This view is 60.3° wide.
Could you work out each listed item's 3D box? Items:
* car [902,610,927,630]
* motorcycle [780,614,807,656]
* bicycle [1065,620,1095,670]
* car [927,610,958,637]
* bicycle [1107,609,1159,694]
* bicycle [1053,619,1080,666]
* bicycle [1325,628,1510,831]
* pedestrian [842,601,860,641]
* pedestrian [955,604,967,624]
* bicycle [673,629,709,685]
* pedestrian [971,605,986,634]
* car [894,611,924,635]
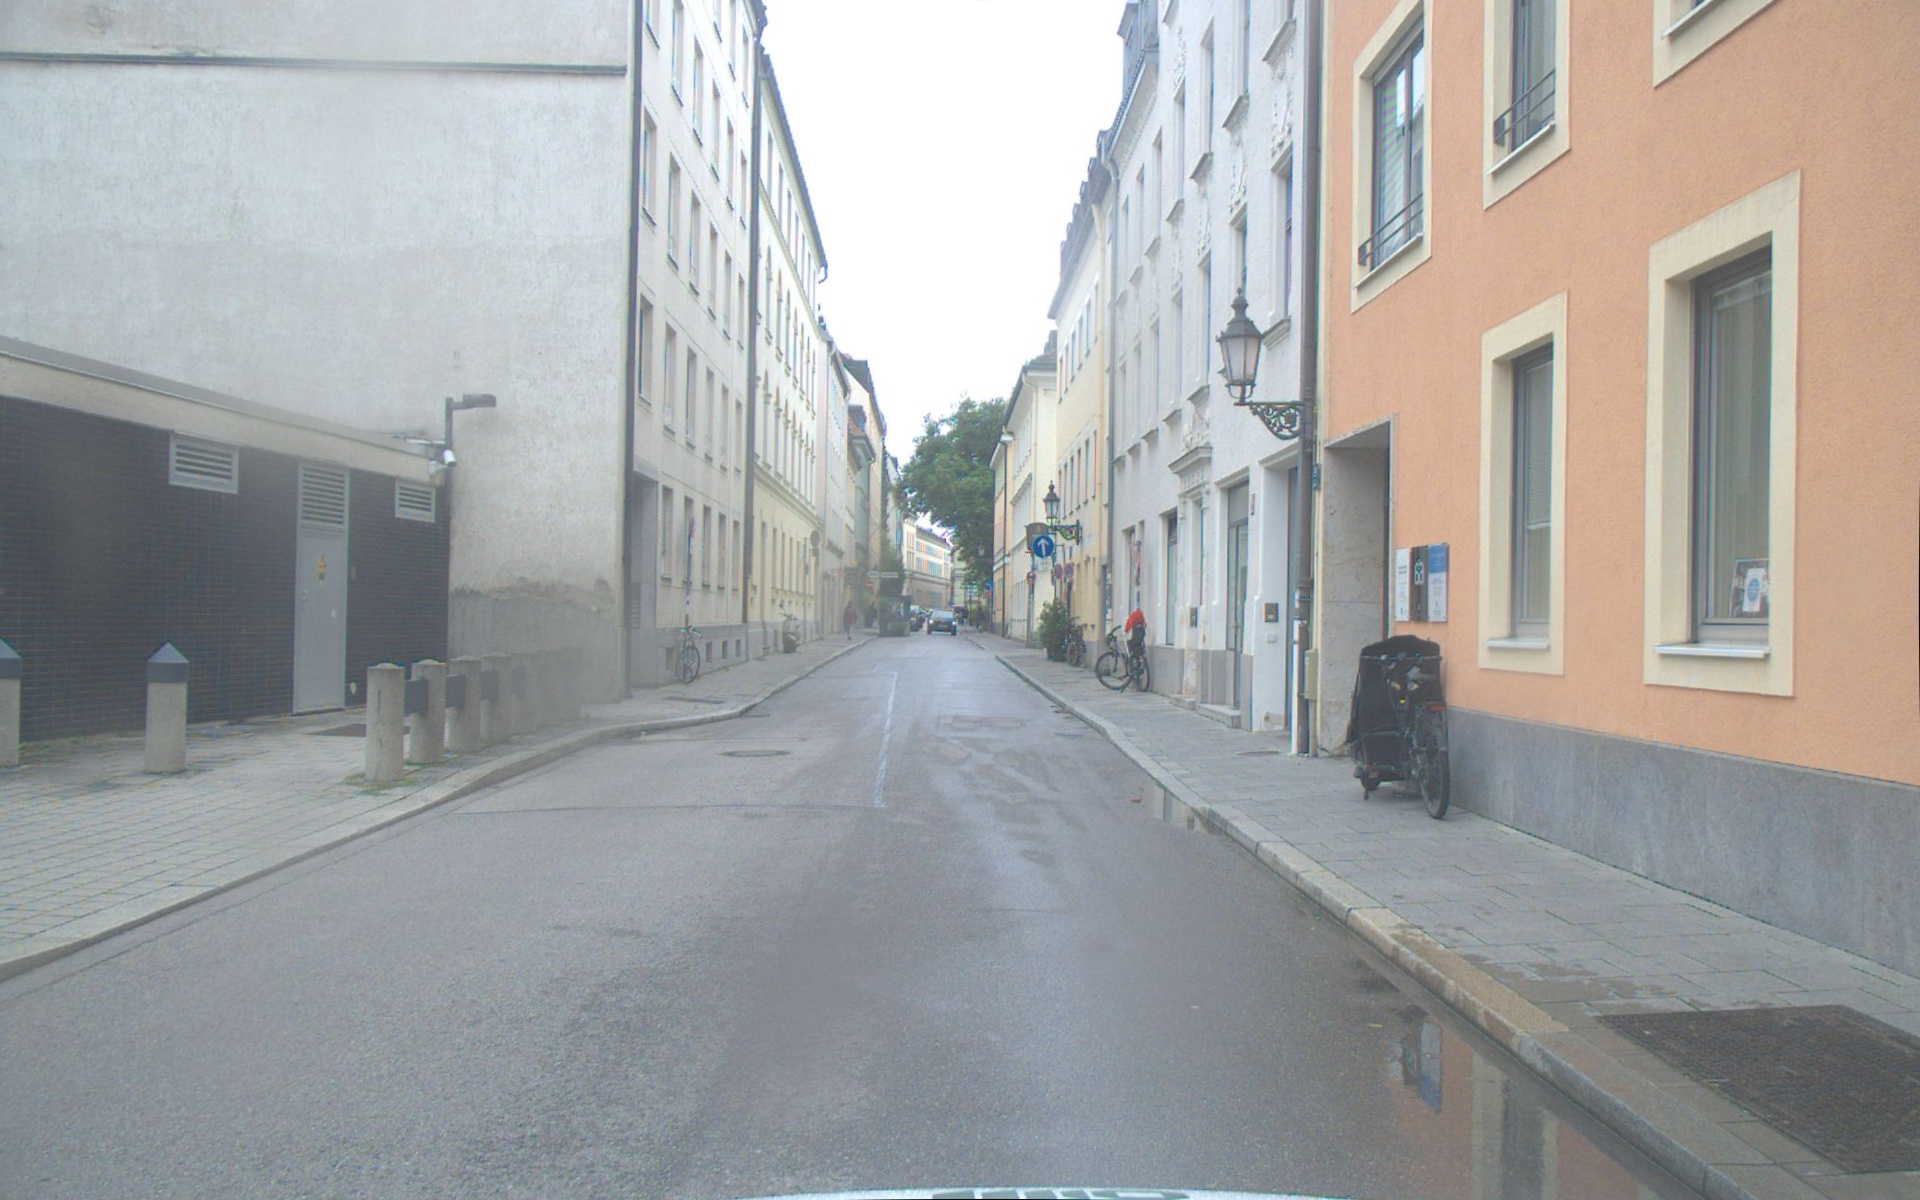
[{"bbox_3d":[-3.591,1.577,131.534,1.742,1.492,3.542,2,0,2],"label":"car"},{"bbox_3d":[-4.845,1.005,48.144,0.590,1.194,1.708,1,0,-1],"label":"motorcycle"},{"bbox_3d":[2.913,1.070,40.266,0.554,1.157,1.987,-1,0,0],"label":"bicycle"},{"bbox_3d":[-1.092,1.409,100.814,1.776,1.622,3.998,1,0,-2],"label":"car"},{"bbox_3d":[3.036,0.883,29.146,0.698,1.420,2.122,-2,0,1],"label":"bicycle"},{"bbox_3d":[2.726,1.084,42.444,0.554,1.157,1.684,-1,0,0],"label":"bicycle"},{"bbox_3d":[3.312,0.882,12.207,0.665,1.261,2.382,-4,0,1],"label":"bicycle"},{"bbox_3d":[-4.742,0.902,71.918,0.750,1.738,0.785,1,-1,-3],"label":"pedestrian"},{"bbox_3d":[0.077,1.261,153.566,0.995,1.833,1.349,2,-1,0],"label":"pedestrian"},{"bbox_3d":[-4.850,1.016,29.921,0.313,0.960,1.574,3,0,1],"label":"bicycle"},{"bbox_3d":[1.198,1.268,106.277,0.862,1.833,1.046,2,-1,0],"label":"pedestrian"},{"bbox_3d":[-3.415,1.543,111.326,1.742,1.492,3.663,2,0,2],"label":"car"}]
